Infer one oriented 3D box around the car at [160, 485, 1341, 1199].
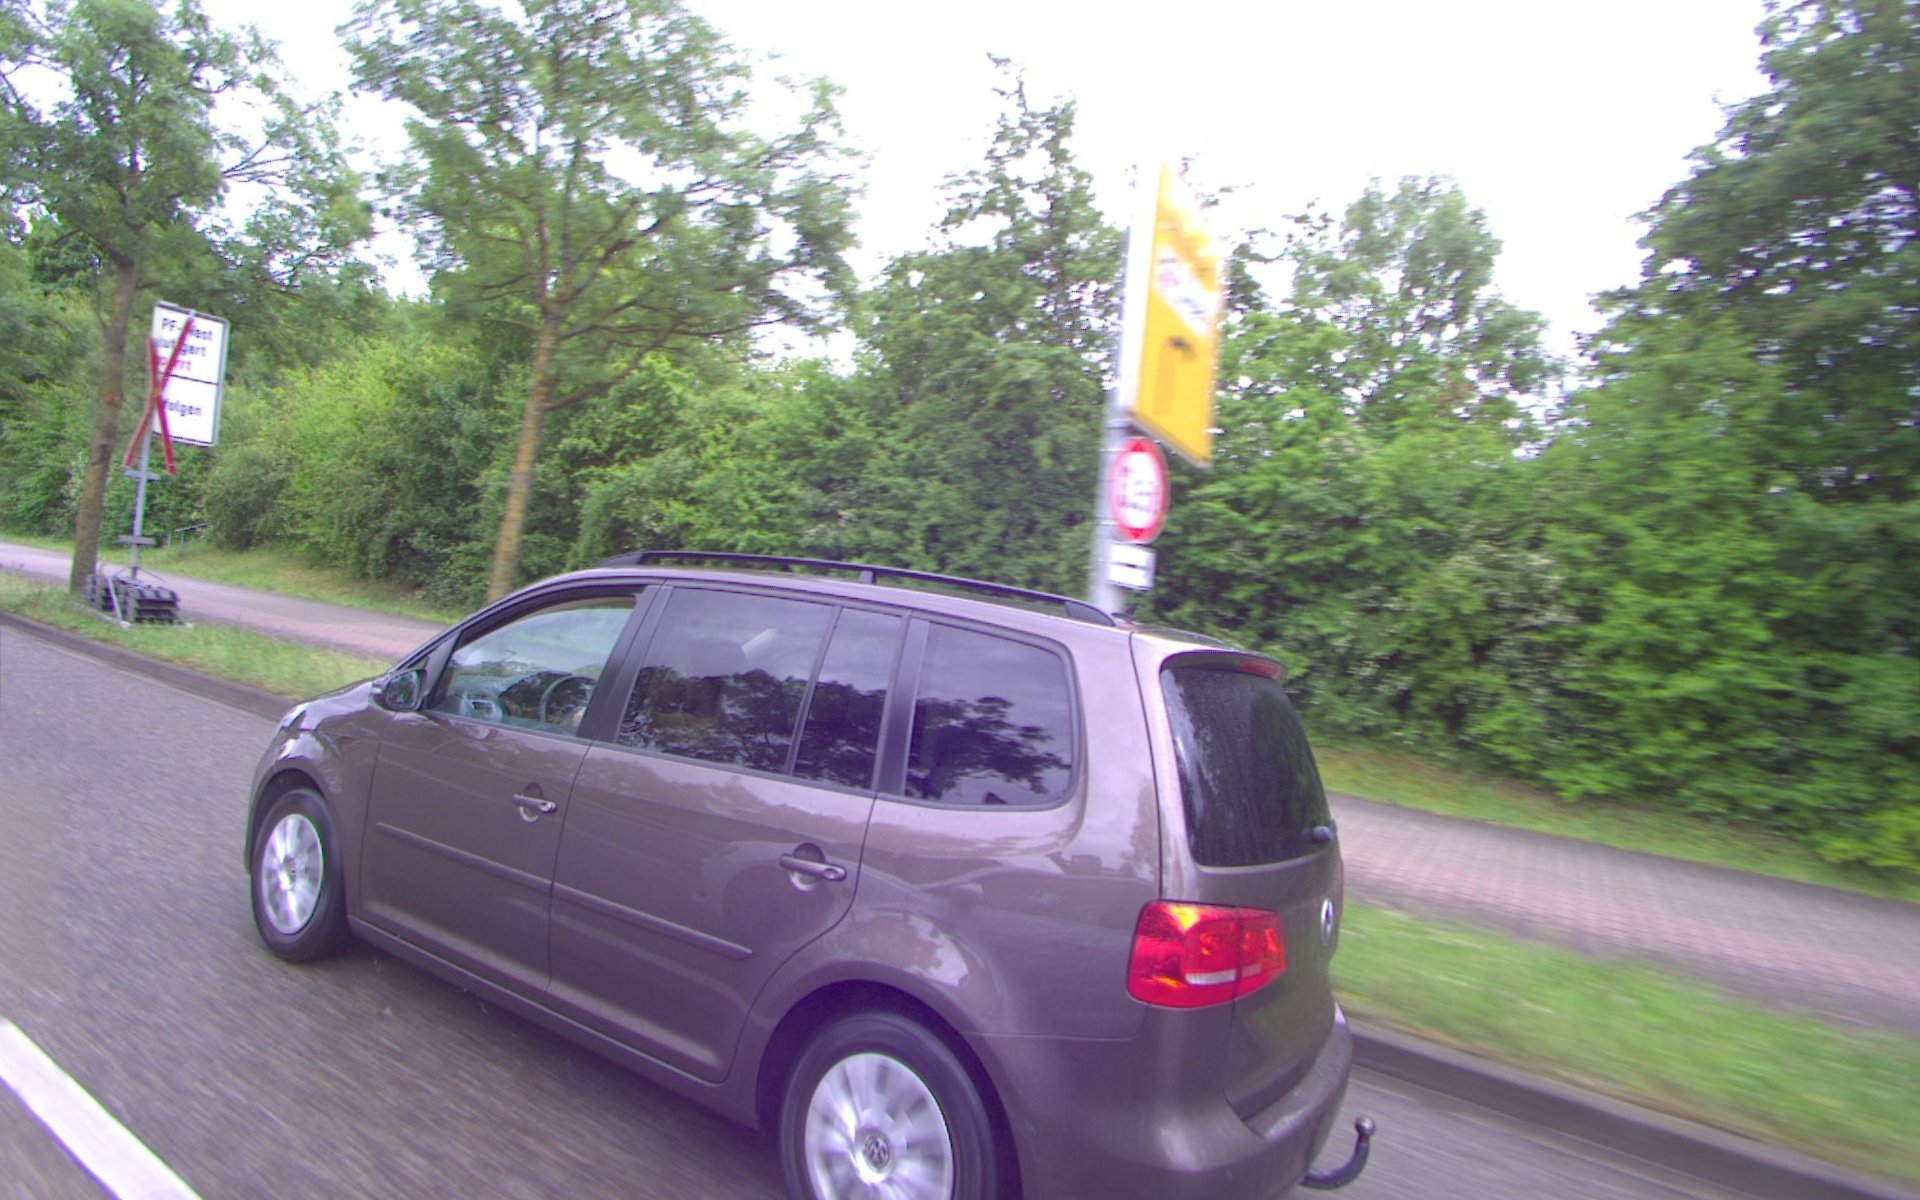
[{"bbox_3d":[-0.961,0.637,3.733,4.061,1.615,1.717,7,-1,31],"label":"car"}]
